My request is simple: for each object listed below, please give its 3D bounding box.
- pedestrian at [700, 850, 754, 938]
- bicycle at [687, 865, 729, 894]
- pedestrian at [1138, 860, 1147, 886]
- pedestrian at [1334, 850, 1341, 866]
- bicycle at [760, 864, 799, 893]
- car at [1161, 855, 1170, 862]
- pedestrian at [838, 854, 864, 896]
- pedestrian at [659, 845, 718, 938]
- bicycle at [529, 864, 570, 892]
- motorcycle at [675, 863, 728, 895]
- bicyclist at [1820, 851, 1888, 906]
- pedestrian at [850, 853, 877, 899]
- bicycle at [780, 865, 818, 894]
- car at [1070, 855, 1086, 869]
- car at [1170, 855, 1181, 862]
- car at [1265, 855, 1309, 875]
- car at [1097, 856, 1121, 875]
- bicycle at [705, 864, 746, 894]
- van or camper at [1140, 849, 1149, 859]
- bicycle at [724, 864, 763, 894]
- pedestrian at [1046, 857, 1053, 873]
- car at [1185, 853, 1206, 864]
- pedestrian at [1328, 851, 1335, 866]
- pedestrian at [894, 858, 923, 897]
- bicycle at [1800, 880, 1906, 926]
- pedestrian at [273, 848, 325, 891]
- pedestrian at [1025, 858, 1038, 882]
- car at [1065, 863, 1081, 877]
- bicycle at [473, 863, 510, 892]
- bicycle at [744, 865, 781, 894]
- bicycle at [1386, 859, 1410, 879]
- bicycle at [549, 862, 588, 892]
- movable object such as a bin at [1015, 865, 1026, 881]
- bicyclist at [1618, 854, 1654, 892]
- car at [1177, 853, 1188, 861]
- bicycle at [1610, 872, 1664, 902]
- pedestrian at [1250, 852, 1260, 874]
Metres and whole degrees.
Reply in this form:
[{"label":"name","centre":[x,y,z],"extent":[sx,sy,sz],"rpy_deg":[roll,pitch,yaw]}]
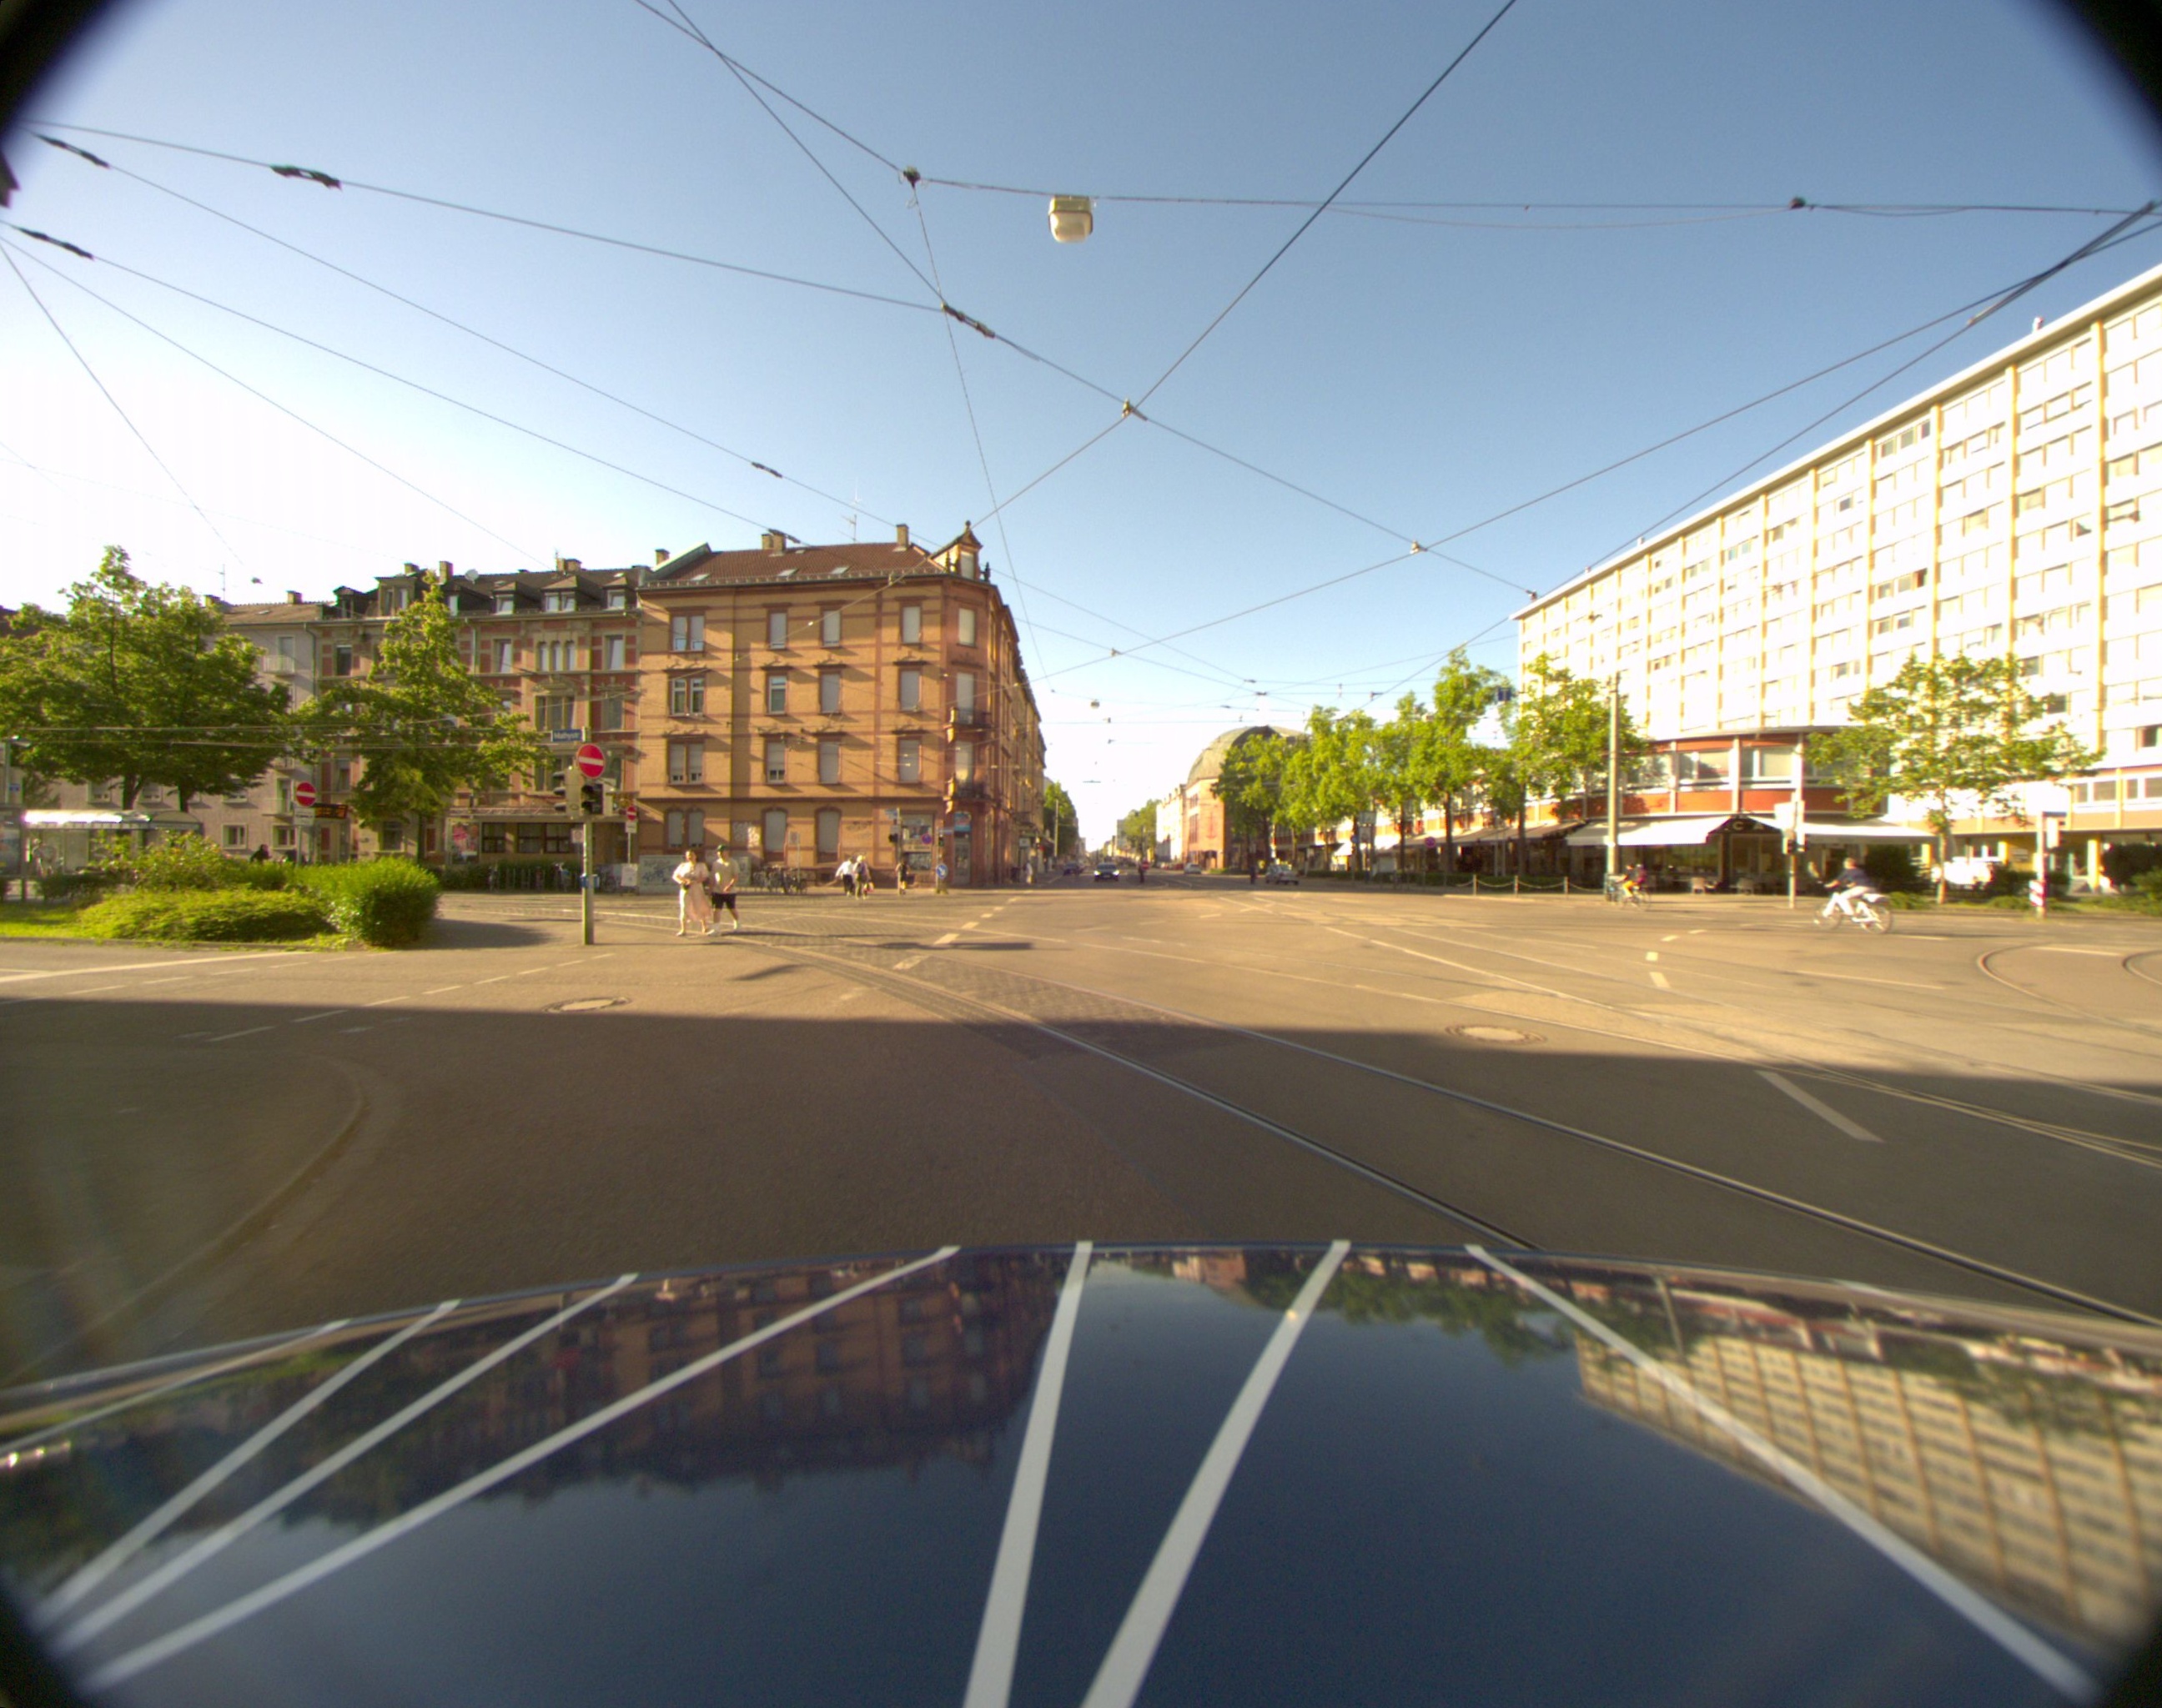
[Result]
[{"label":"pedestrian","centre":[-6.752,0.744,14.509],"extent":[0.701,1.645,0.633],"rpy_deg":[0,0,23]},{"label":"bicycle","centre":[-15.968,1.100,32.603],"extent":[0.650,1.202,2.312],"rpy_deg":[0,-2,-1]},{"label":"pedestrian","centre":[4.162,1.296,51.464],"extent":[0.559,1.753,0.895],"rpy_deg":[2,-1,1]},{"label":"pedestrian","centre":[28.925,0.479,85.672],"extent":[0.573,1.740,0.706],"rpy_deg":[0,-1,2]},{"label":"bicycle","centre":[-12.792,1.040,32.332],"extent":[0.753,1.202,2.312],"rpy_deg":[0,-2,-1]},{"label":"car","centre":[19.720,1.101,177.203],"extent":[1.855,1.445,3.854],"rpy_deg":[-1,-1,1]},{"label":"pedestrian","centre":[-9.135,0.831,30.197],"extent":[0.925,1.622,1.008],"rpy_deg":[0,0,-12]},{"label":"pedestrian","centre":[-7.497,0.698,14.539],"extent":[0.644,1.735,0.706],"rpy_deg":[-2,0,15]},{"label":"bicycle","centre":[-21.860,0.995,31.307],"extent":[0.651,1.122,2.038],"rpy_deg":[1,-2,-13]},{"label":"motorcycle","centre":[-16.935,1.131,33.925],"extent":[1.948,1.395,0.864],"rpy_deg":[3,-4,-35]},{"label":"bicyclist","centre":[18.298,0.570,18.013],"extent":[0.590,1.278,0.992],"rpy_deg":[0,0,-2]},{"label":"pedestrian","centre":[-7.937,0.787,27.718],"extent":[0.926,1.622,0.940],"rpy_deg":[0,0,-15]},{"label":"bicycle","centre":[-11.953,1.102,32.287],"extent":[0.753,1.202,2.312],"rpy_deg":[0,-2,-1]},{"label":"car","centre":[-0.347,1.043,96.915],"extent":[1.694,1.703,4.617],"rpy_deg":[-2,-1,3]},{"label":"car","centre":[19.998,0.895,160.957],"extent":[1.855,1.445,3.854],"rpy_deg":[-1,-1,1]},{"label":"car","centre":[15.493,0.823,57.426],"extent":[1.999,1.442,4.651],"rpy_deg":[0,-1,0]},{"label":"car","centre":[2.200,0.926,60.392],"extent":[1.815,1.415,4.154],"rpy_deg":[-2,-1,1]},{"label":"bicycle","centre":[-15.160,1.079,32.475],"extent":[0.650,1.202,2.312],"rpy_deg":[0,-2,-1]},{"label":"van or camper","centre":[17.909,0.110,213.633],"extent":[2.041,2.722,7.022],"rpy_deg":[1,-1,1]},{"label":"bicycle","centre":[-14.377,1.077,32.452],"extent":[0.650,1.202,2.312],"rpy_deg":[0,-2,-1]},{"label":"pedestrian","centre":[-3.946,1.364,94.189],"extent":[0.686,1.900,1.063],"rpy_deg":[-2,0,4]},{"label":"car","centre":[14.838,0.591,98.681],"extent":[1.999,1.442,4.502],"rpy_deg":[0,-1,0]},{"label":"pedestrian","centre":[28.237,0.517,85.659],"extent":[0.573,1.761,0.706],"rpy_deg":[0,-1,2]},{"label":"pedestrian","centre":[-6.815,0.910,30.034],"extent":[0.633,1.528,0.944],"rpy_deg":[0,0,33]},{"label":"bicycle","centre":[18.300,1.133,18.072],"extent":[0.595,0.966,1.854],"rpy_deg":[0,0,-2]},{"label":"pedestrian","centre":[-29.782,0.583,28.955],"extent":[1.010,1.622,1.020],"rpy_deg":[0,0,-16]},{"label":"pedestrian","centre":[-3.240,1.034,49.506],"extent":[0.684,1.598,0.730],"rpy_deg":[0,-1,-22]},{"label":"car","centre":[-0.900,1.838,85.797],"extent":[1.694,1.442,4.361],"rpy_deg":[-2,-1,1]},{"label":"bicycle","centre":[-23.257,0.941,30.010],"extent":[0.652,1.122,2.036],"rpy_deg":[1,-2,-24]},{"label":"bicycle","centre":[-13.558,1.084,32.430],"extent":[0.650,1.202,2.312],"rpy_deg":[0,-2,-1]},{"label":"bicycle","centre":[19.054,0.928,45.709],"extent":[0.498,1.179,2.235],"rpy_deg":[0,-1,0]},{"label":"bicycle","centre":[-21.151,0.919,31.375],"extent":[0.651,1.202,2.037],"rpy_deg":[1,0,-13]},{"label":"movable object such as a bin","centre":[-4.200,1.304,52.826],"extent":[0.664,1.066,0.591],"rpy_deg":[3,0,3]},{"label":"bicyclist","centre":[19.500,0.657,26.693],"extent":[0.590,1.278,0.927],"rpy_deg":[0,0,2]},{"label":"car","centre":[20.154,0.646,151.063],"extent":[1.753,1.445,3.472],"rpy_deg":[-1,-1,0]},{"label":"bicycle","centre":[19.517,1.151,26.721],"extent":[0.595,0.966,1.818],"rpy_deg":[0,0,2]},{"label":"pedestrian","centre":[12.115,0.645,53.009],"extent":[0.501,1.508,0.859],"rpy_deg":[2,-1,1]}]
